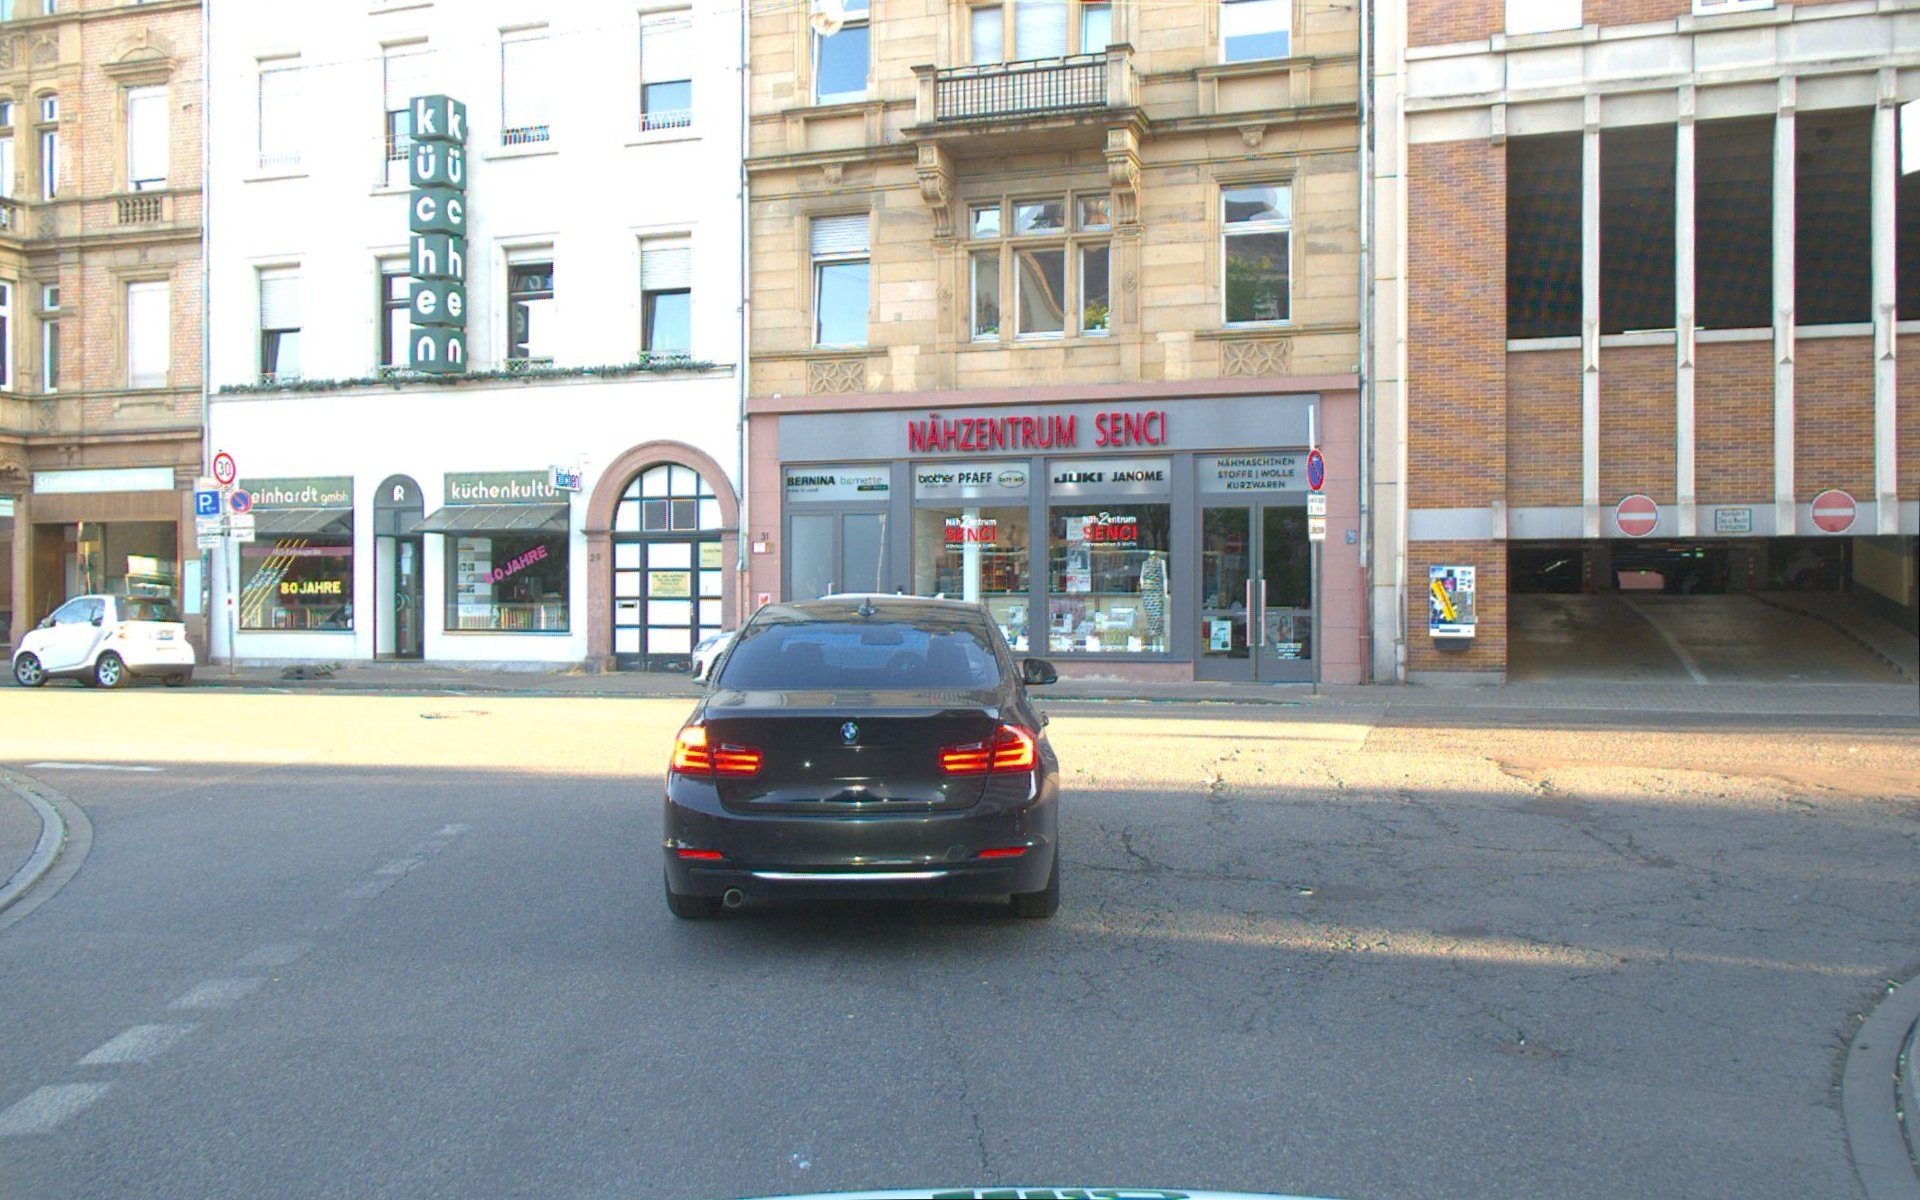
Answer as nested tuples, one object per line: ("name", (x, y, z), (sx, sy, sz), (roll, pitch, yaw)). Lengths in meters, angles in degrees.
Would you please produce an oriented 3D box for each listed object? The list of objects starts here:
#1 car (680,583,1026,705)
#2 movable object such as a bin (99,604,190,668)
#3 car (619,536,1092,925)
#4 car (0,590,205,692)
("car", (-1.524, 0.594, 23.987), (4.568, 1.562, 2.001), (1, 0, 17))
("movable object such as a bin", (-15.779, 0.683, 32.021), (1.364, 1.207, 0.869), (0, 0, 18))
("car", (-0.355, 0.538, 8.575), (1.849, 1.518, 4.205), (0, -1, 1))
("car", (-15.216, 0.660, 28.505), (3.903, 1.612, 1.706), (1, 0, 19))
